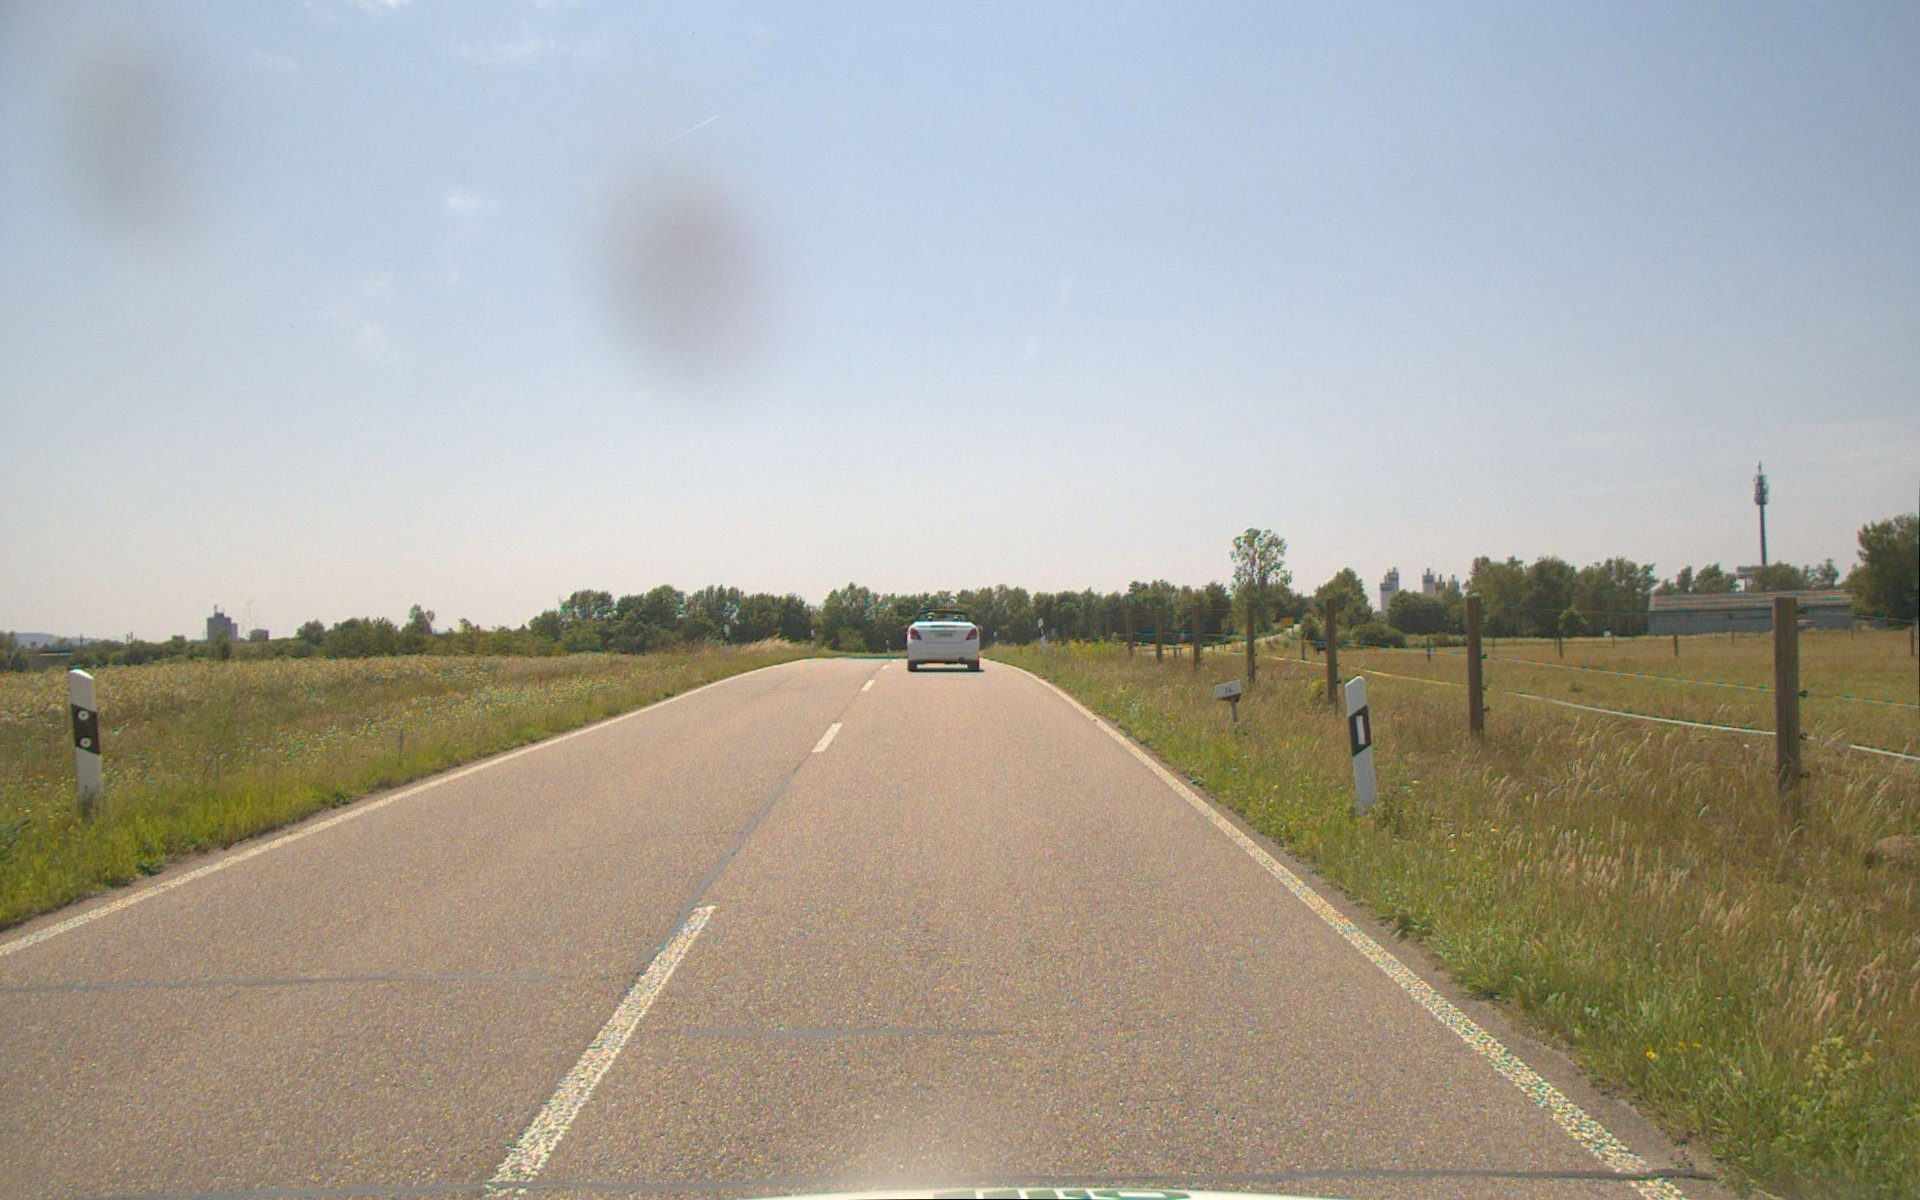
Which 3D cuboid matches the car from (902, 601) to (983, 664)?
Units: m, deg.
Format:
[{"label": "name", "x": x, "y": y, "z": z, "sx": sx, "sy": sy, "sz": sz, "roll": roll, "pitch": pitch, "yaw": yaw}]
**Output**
[{"label": "car", "x": -0.411, "y": 0.747, "z": 39.042, "sx": 1.813, "sy": 1.403, "sz": 3.999, "roll": 0, "pitch": -1, "yaw": -1}]
